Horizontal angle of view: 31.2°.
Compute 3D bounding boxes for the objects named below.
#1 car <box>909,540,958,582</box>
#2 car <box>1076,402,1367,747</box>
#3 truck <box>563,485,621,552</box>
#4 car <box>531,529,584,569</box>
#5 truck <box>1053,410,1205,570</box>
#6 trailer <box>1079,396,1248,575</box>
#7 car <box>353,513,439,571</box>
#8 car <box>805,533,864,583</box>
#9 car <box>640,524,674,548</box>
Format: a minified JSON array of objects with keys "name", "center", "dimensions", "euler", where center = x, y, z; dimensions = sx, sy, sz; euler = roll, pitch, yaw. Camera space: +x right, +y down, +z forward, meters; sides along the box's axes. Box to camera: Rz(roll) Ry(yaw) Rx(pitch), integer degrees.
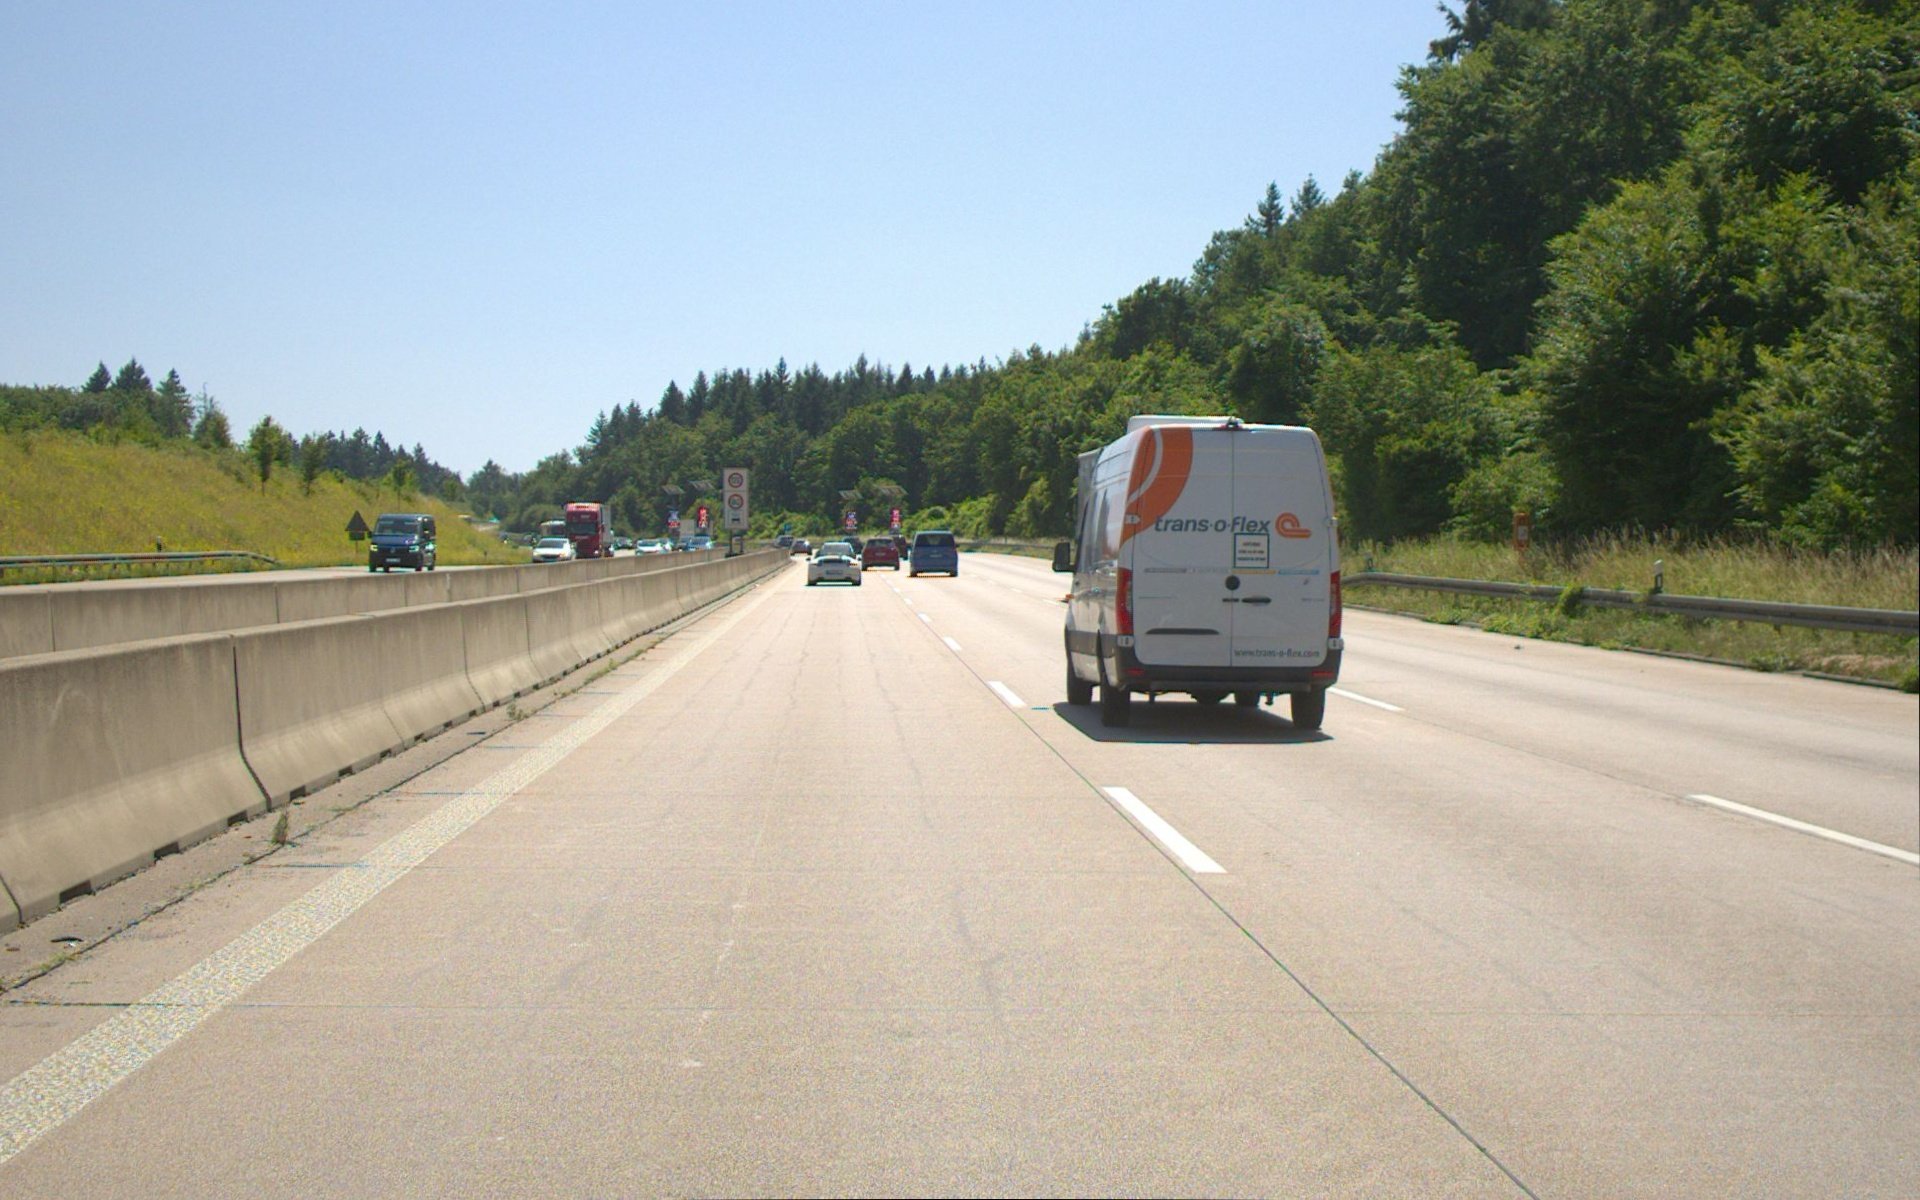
[{"name":"car","center":[-1.106,-1.604,142.044],"dimensions":[1.993,1.678,4.000],"euler":[1,1,-1]},{"name":"car","center":[2.275,-0.295,31.386],"dimensions":[2.226,2.834,5.454],"euler":[-1,2,0]},{"name":"truck","center":[-25.109,-5.557,235.019],"dimensions":[3.386,4.416,6.801],"euler":[1,1,-2]},{"name":"car","center":[-18.514,-2.368,158.438],"dimensions":[2.008,1.801,4.854],"euler":[1,1,-2]},{"name":"truck","center":[4.433,-2.888,92.553],"dimensions":[3.159,4.003,10.609],"euler":[-1,1,-2]},{"name":"trailer","center":[4.778,-2.689,82.707],"dimensions":[3.134,4.003,9.089],"euler":[-1,1,-2]},{"name":"car","center":[-22.251,-2.312,135.879],"dimensions":[2.480,2.202,6.460],"euler":[1,1,-2]},{"name":"car","center":[-4.345,-1.440,119.004],"dimensions":[1.993,1.678,4.000],"euler":[1,1,-2]},{"name":"car","center":[-20.134,-4.252,228.487],"dimensions":[1.993,1.558,4.001],"euler":[1,1,-2]}]
